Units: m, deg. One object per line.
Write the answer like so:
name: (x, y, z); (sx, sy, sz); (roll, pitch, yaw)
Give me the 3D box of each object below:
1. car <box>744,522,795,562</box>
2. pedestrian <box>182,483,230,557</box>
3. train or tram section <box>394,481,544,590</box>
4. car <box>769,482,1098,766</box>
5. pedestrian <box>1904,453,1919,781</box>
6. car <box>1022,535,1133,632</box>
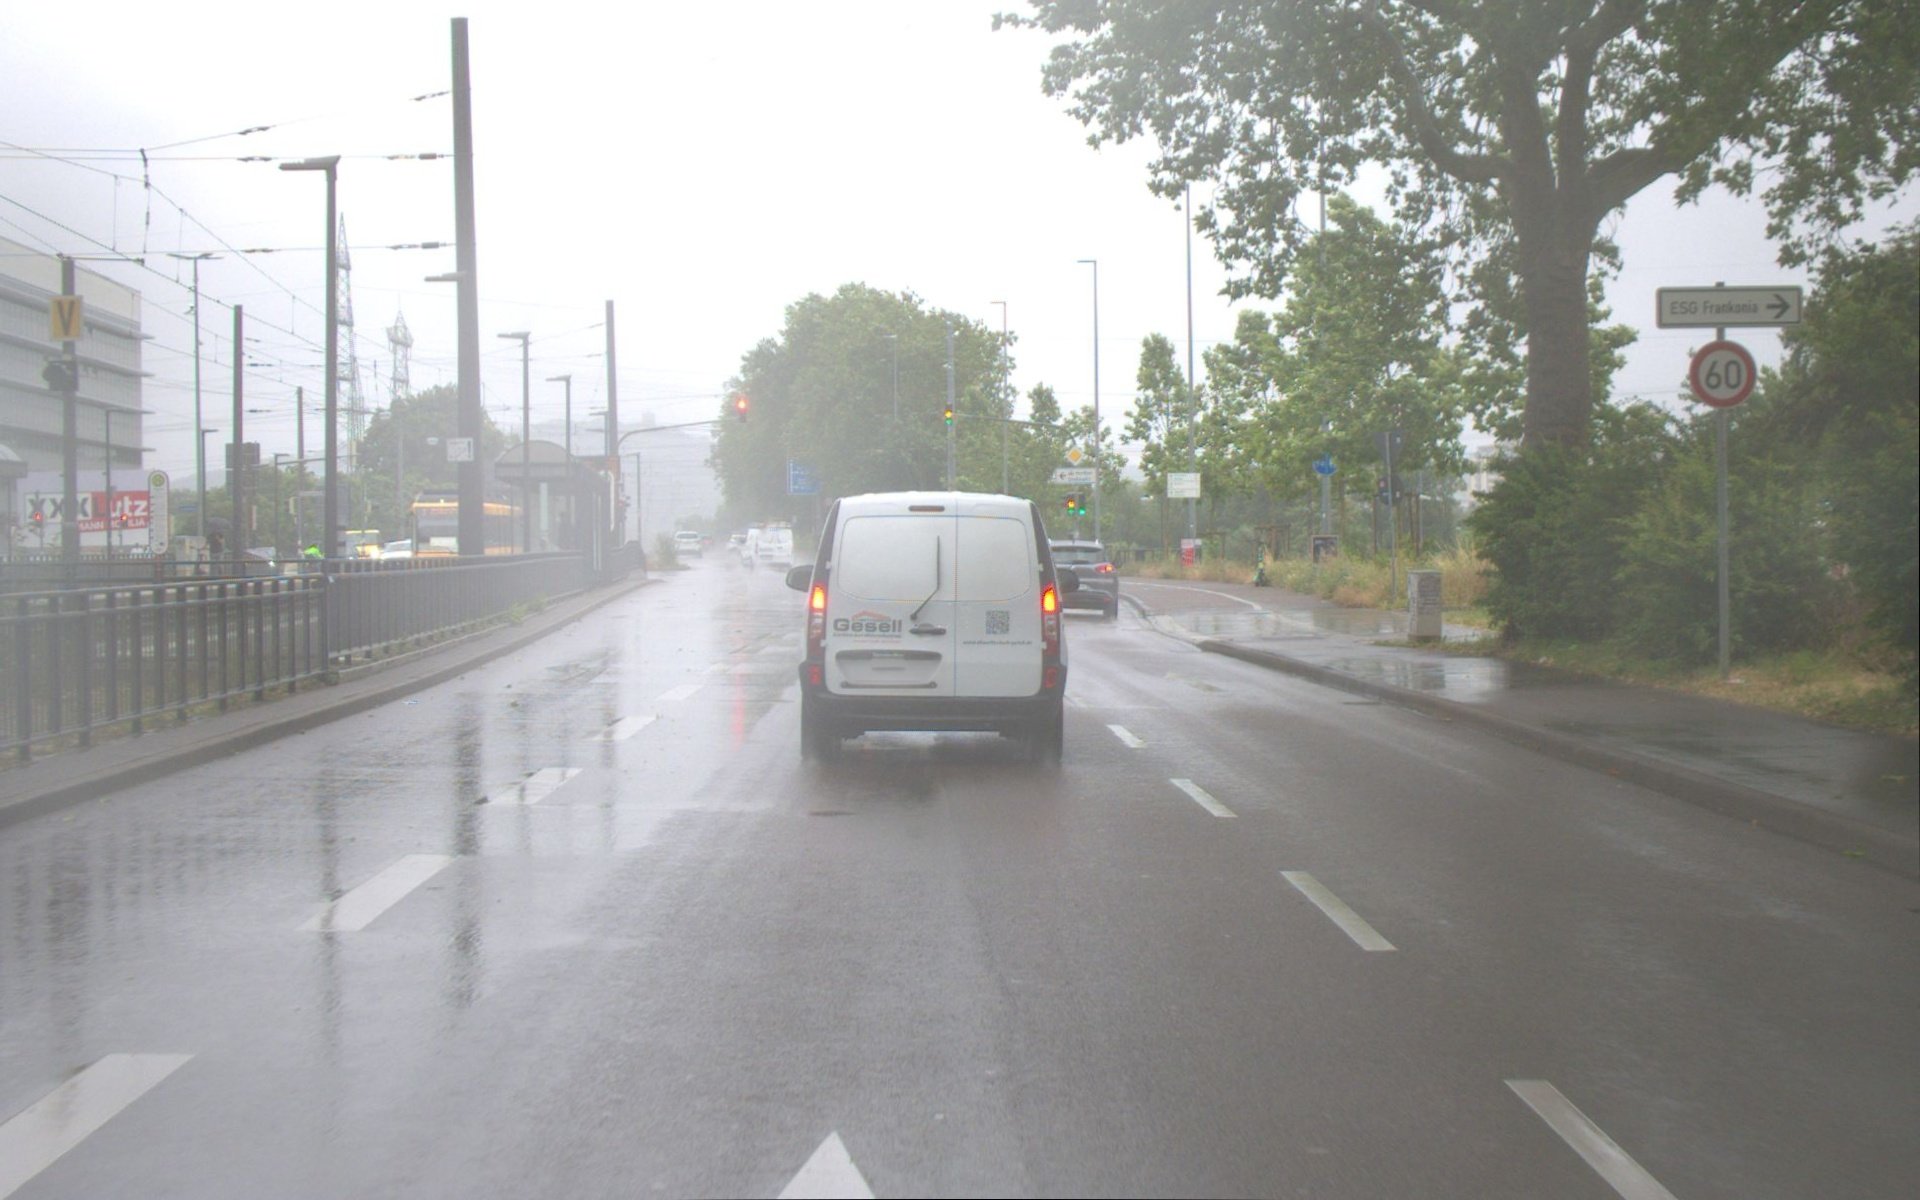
car: (-8.713, -2.649, 157.232); (1.993, 1.744, 4.001); (1, 1, -7)
pedestrian: (-20.916, -2.213, 95.400); (1.088, 2.007, 1.096); (1, 1, -2)
train or tram section: (-20.052, -2.630, 142.419); (3.770, 4.022, 27.097); (1, 1, -3)
car: (-0.287, 0.124, 24.043); (2.024, 1.769, 4.275); (1, 1, -4)
pedestrian: (5.834, 0.092, 18.376); (1.240, 1.779, 1.147); (-1, 1, -1)
car: (2.204, -0.330, 65.192); (1.993, 1.744, 4.000); (1, 1, 1)
